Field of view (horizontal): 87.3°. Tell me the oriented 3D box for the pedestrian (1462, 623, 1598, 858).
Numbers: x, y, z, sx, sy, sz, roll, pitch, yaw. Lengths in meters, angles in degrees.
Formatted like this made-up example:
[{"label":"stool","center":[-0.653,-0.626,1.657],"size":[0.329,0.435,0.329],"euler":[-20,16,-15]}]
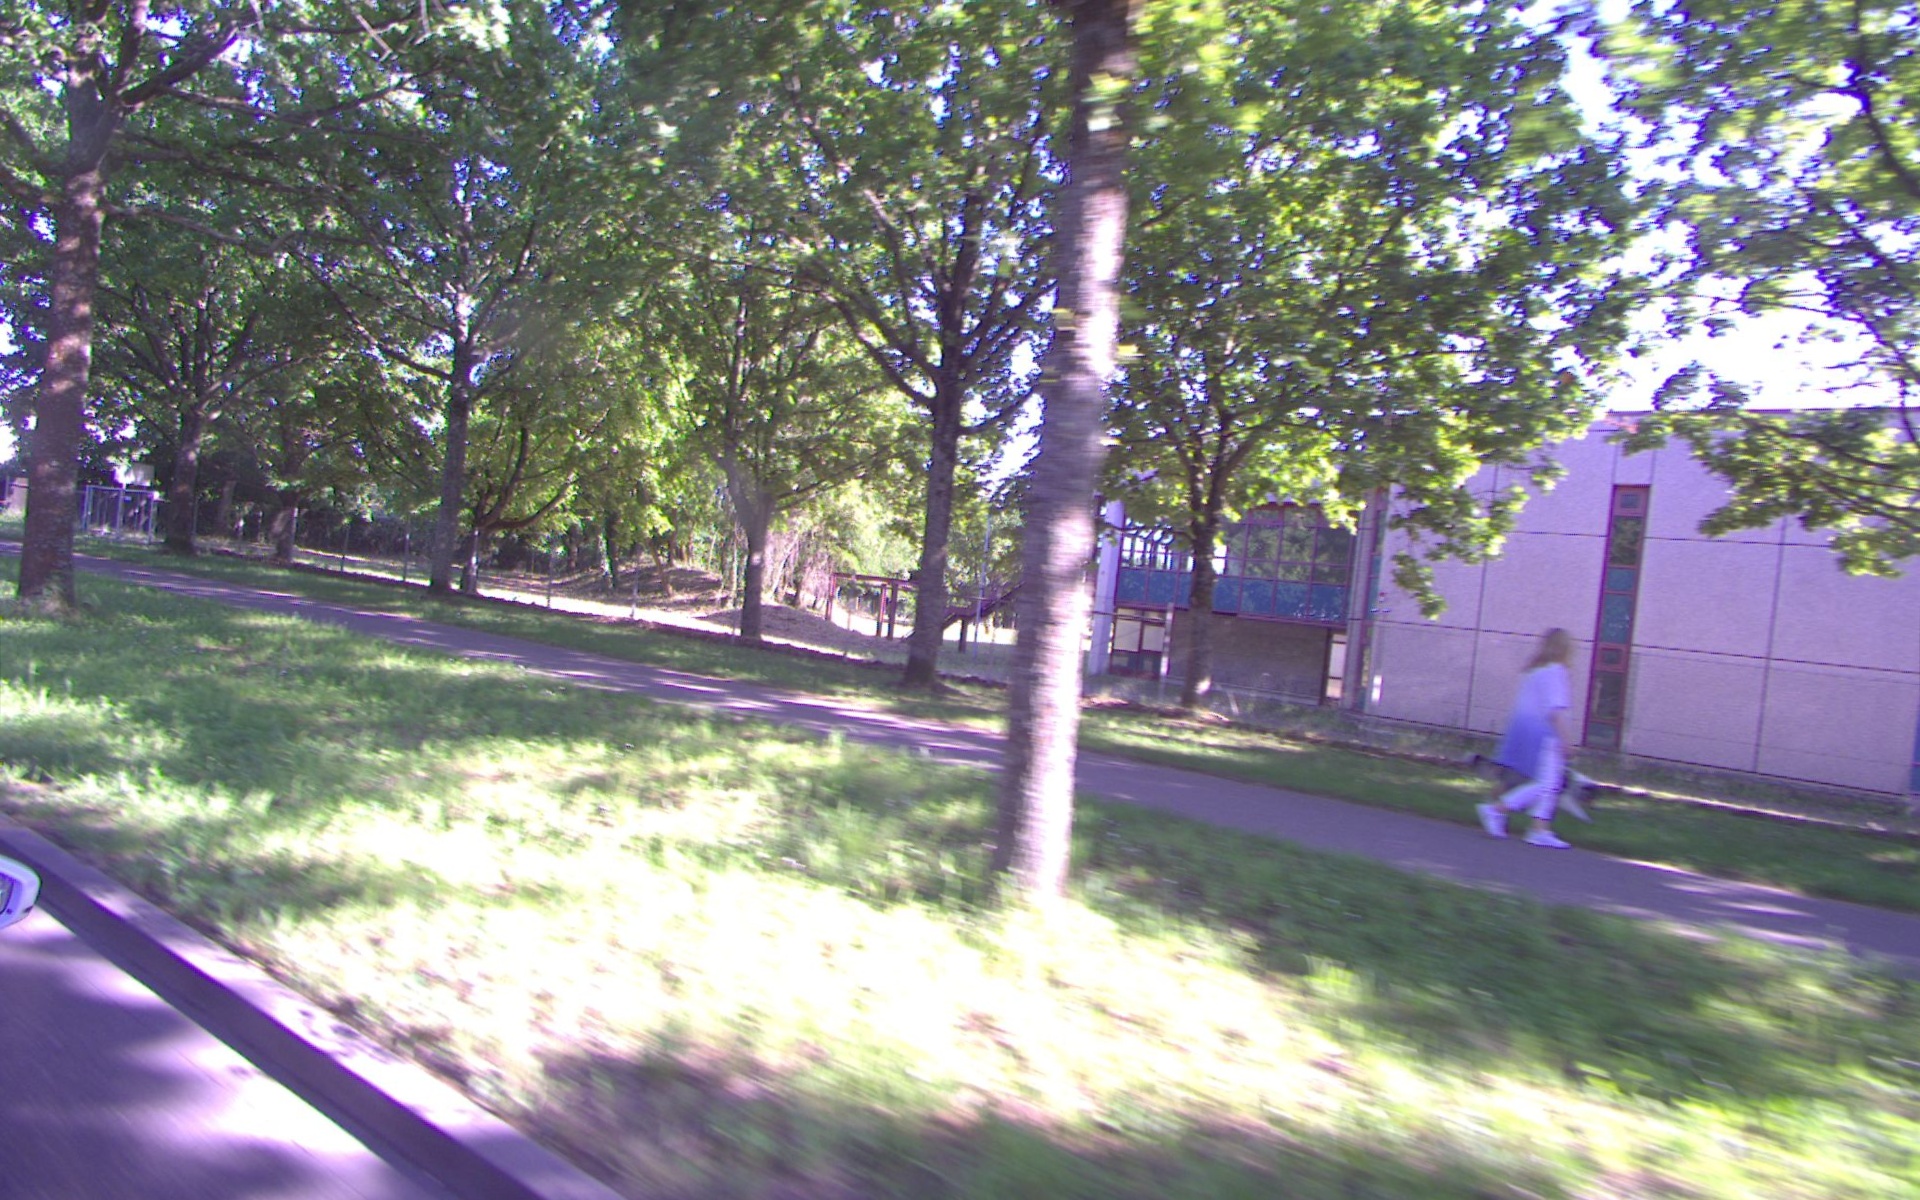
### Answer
[{"label":"pedestrian","center":[4.412,1.046,7.785],"size":[0.707,1.653,0.607],"euler":[8,3,33]}]
